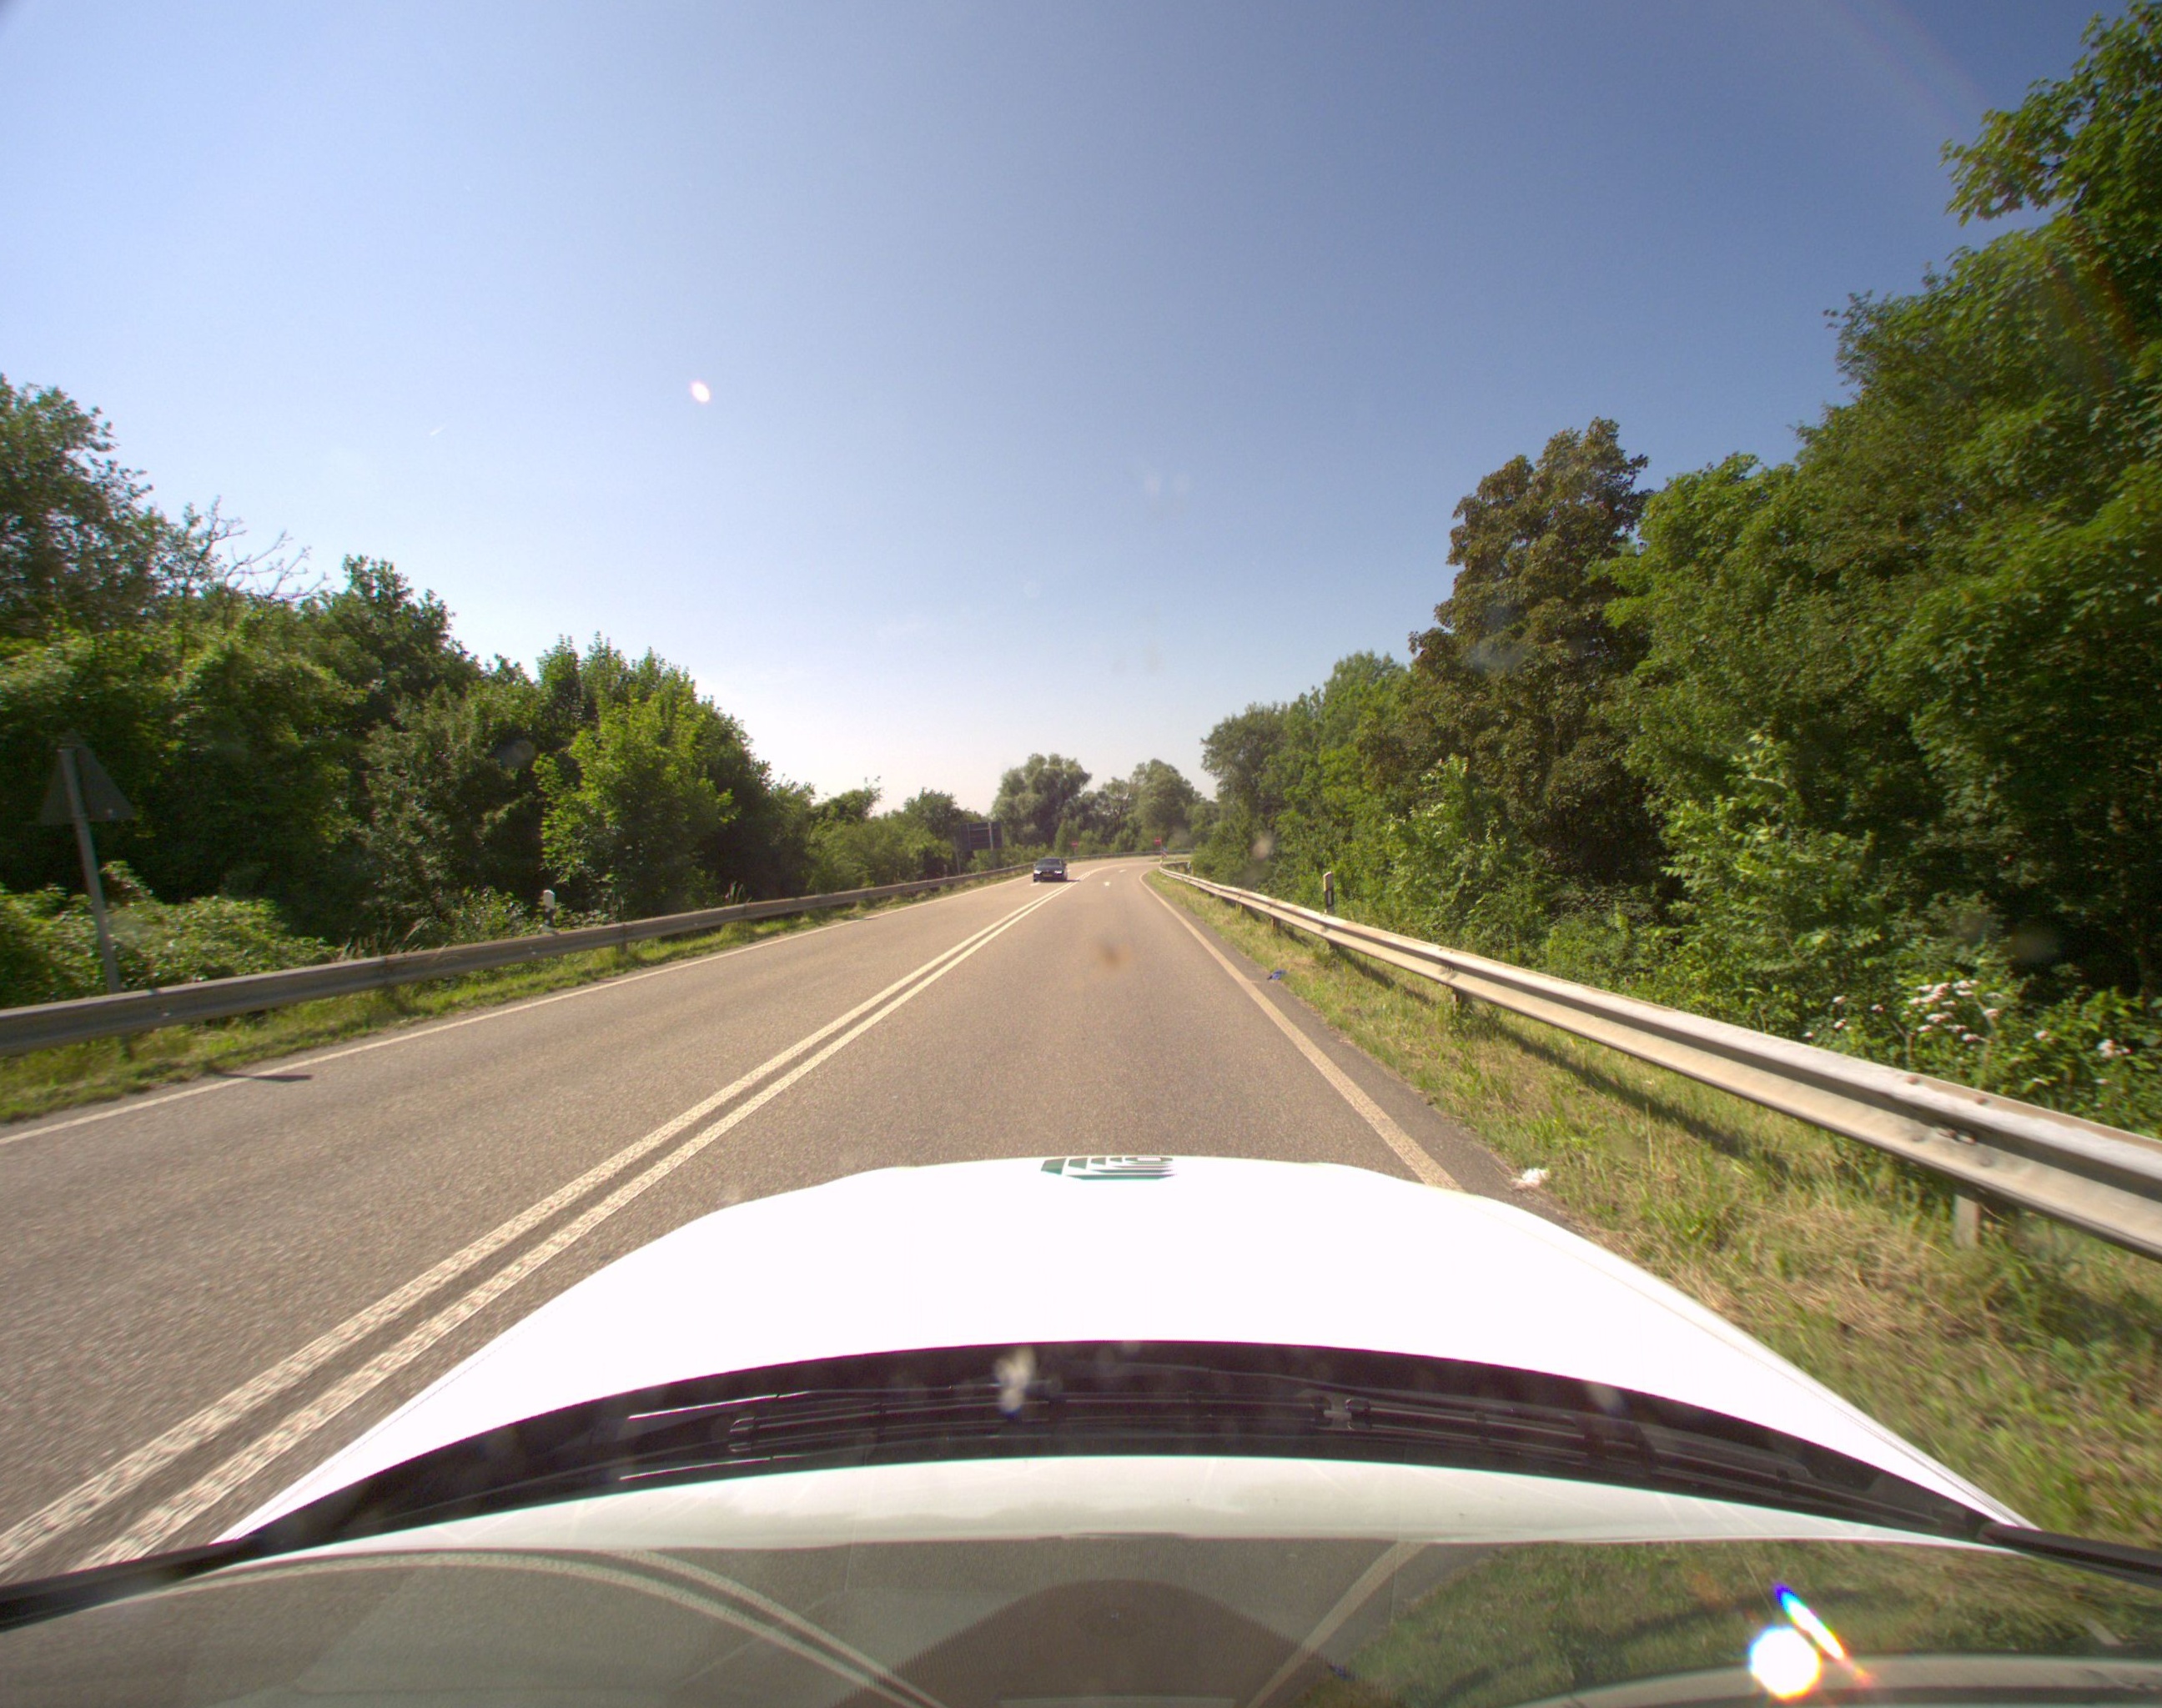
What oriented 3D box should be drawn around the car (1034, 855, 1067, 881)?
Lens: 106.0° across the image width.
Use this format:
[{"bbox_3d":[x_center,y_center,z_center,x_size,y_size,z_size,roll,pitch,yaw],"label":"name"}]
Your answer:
[{"bbox_3d":[-1.774,0.813,48.822,1.601,1.473,4.223,-2,0,3],"label":"car"}]
